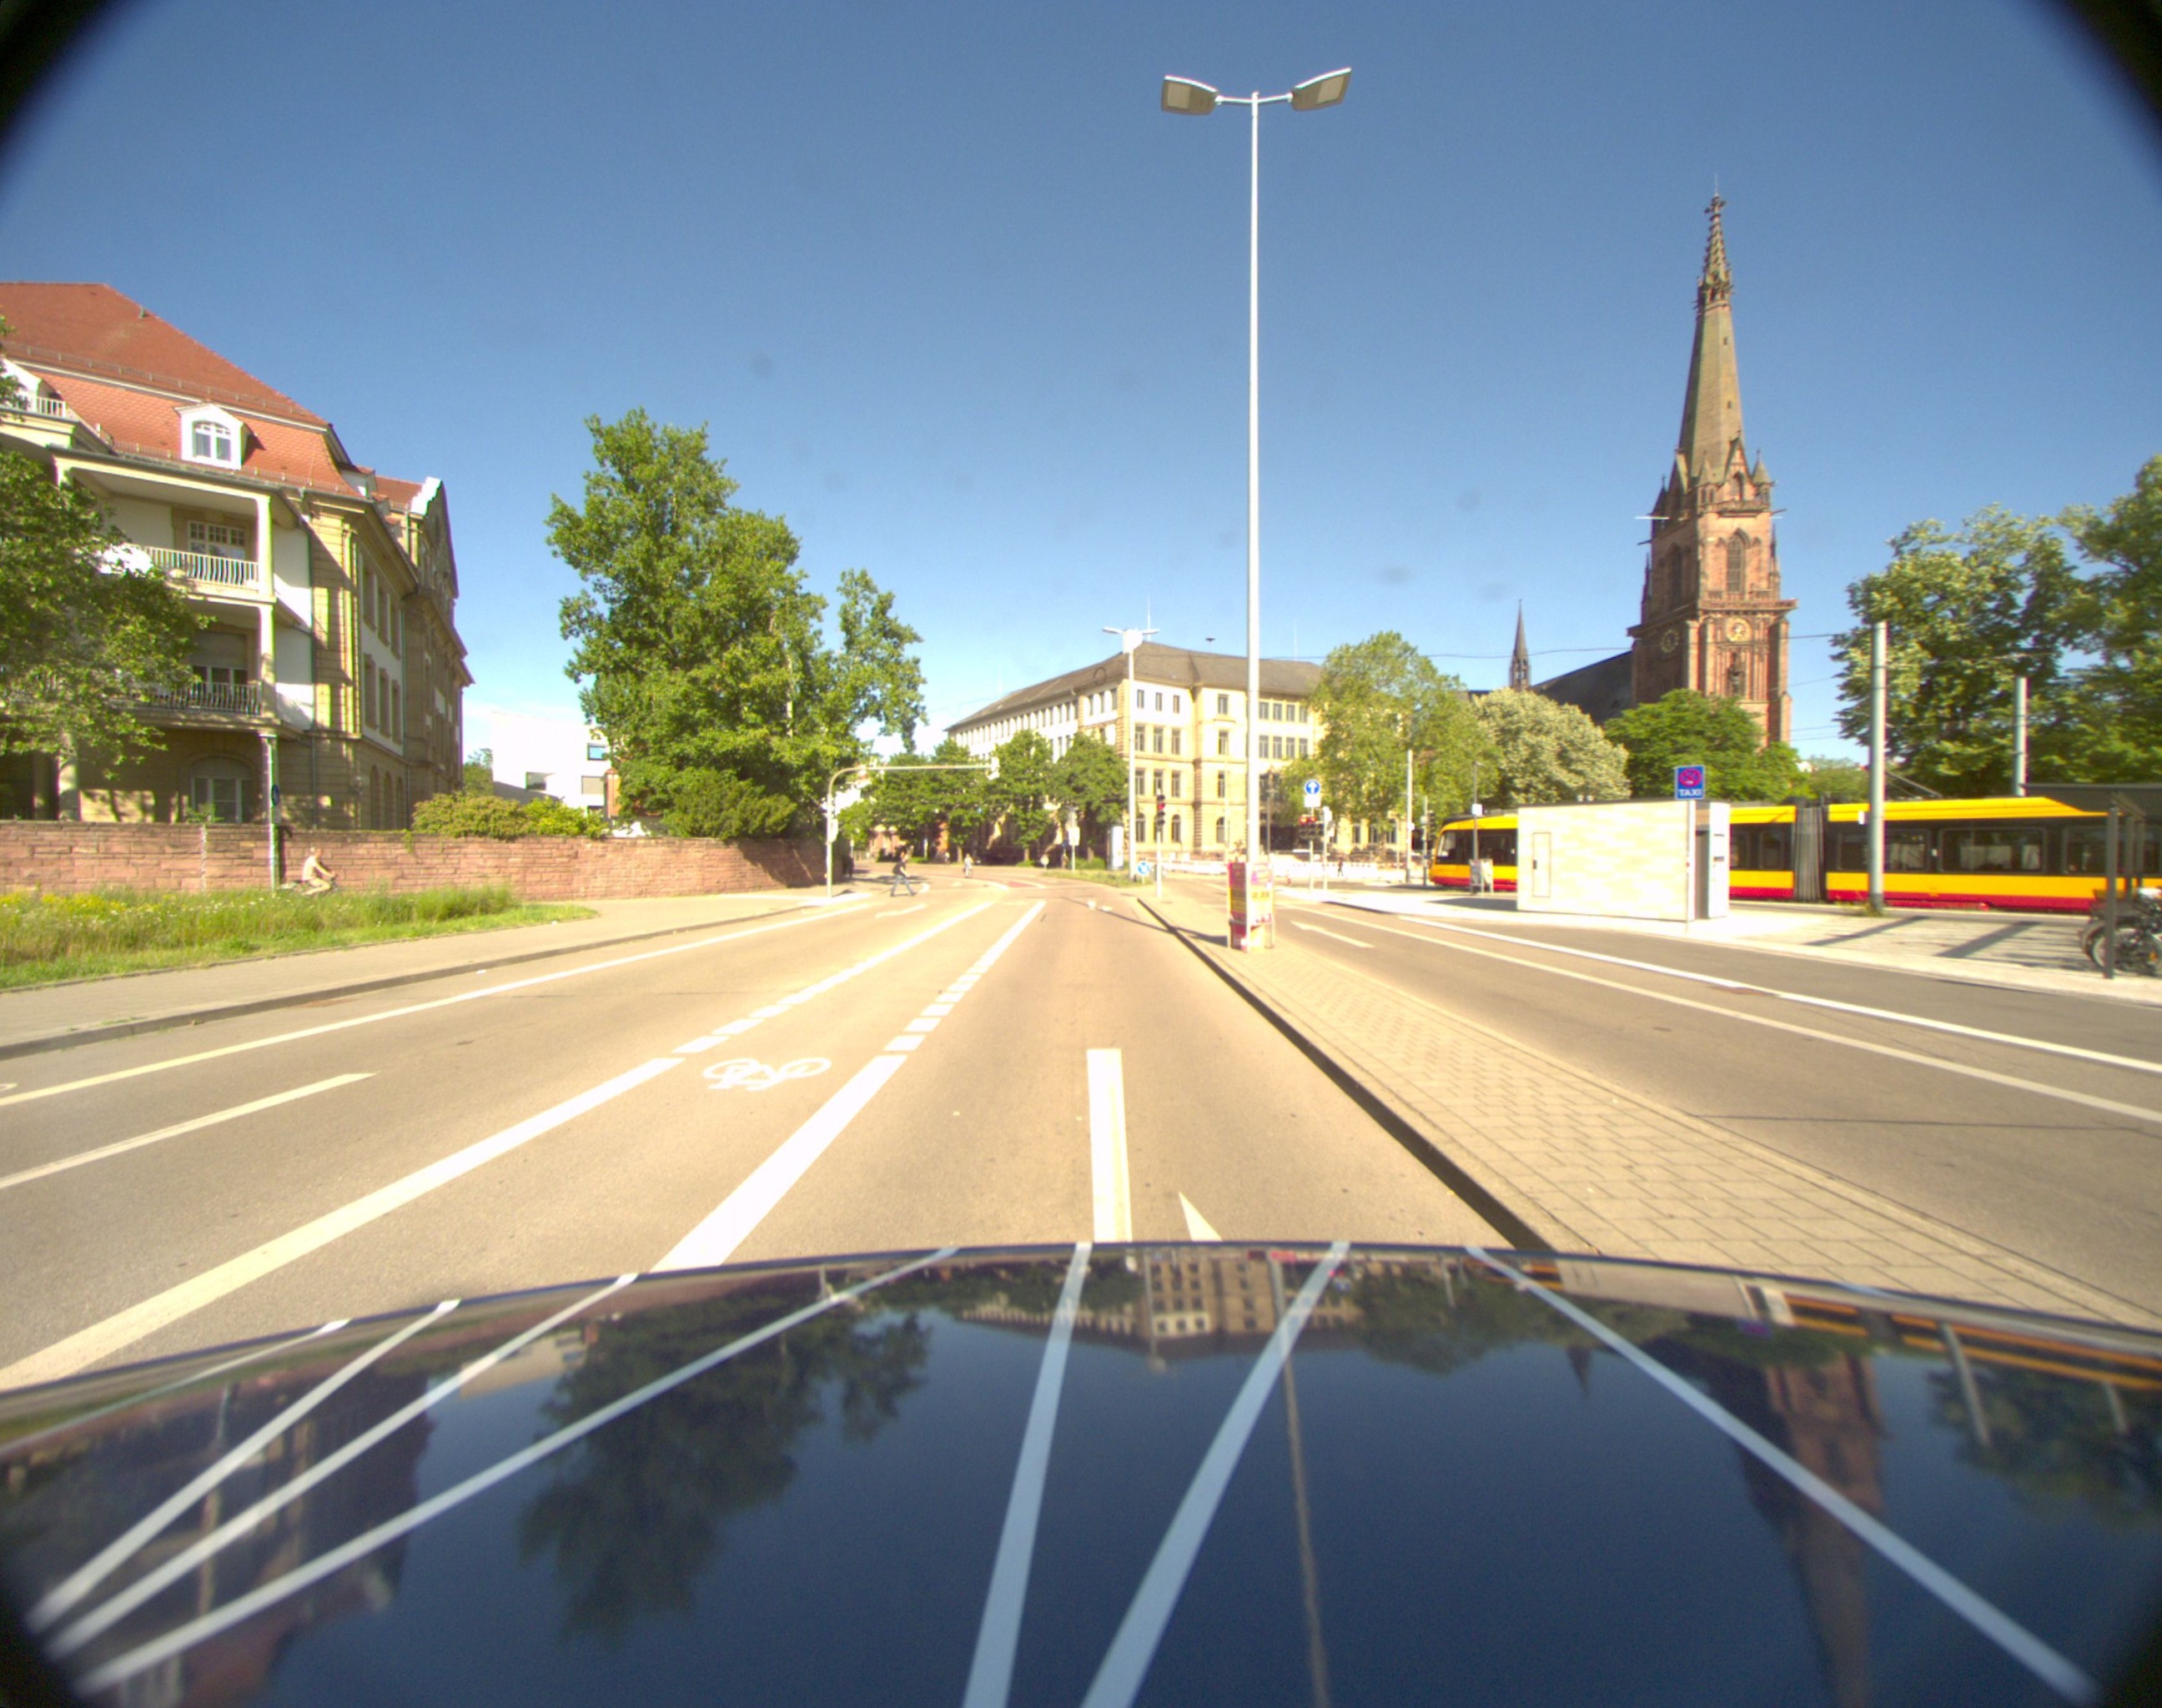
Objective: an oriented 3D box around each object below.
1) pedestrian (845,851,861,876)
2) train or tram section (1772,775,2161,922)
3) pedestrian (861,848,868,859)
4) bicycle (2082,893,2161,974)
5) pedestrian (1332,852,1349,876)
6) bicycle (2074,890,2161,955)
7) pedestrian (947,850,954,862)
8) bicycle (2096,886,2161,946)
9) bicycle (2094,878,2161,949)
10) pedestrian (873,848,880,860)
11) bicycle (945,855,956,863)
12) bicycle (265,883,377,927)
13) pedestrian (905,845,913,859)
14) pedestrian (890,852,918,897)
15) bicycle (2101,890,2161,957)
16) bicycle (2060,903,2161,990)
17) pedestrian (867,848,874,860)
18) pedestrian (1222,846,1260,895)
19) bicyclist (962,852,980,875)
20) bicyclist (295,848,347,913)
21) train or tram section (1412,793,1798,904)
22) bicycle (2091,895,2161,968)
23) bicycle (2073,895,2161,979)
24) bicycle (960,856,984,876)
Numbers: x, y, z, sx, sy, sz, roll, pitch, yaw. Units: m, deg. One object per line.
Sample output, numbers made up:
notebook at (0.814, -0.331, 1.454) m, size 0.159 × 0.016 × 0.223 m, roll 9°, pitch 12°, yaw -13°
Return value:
pedestrian at (-15.548, 0.647, 51.762) m, size 0.940 × 1.711 × 0.994 m, roll 0°, pitch 1°, yaw -12°
train or tram section at (26.928, -0.147, 20.198) m, size 2.806 × 3.580 × 12.294 m, roll -1°, pitch 1°, yaw -35°
pedestrian at (-35.460, -0.073, 124.488) m, size 0.759 × 1.802 × 0.978 m, roll -1°, pitch 1°, yaw -38°
bicycle at (15.142, 1.113, 10.313) m, size 0.574 × 1.045 × 1.826 m, roll -1°, pitch 1°, yaw -32°
pedestrian at (18.393, 0.699, 53.855) m, size 0.932 × 1.731 × 0.808 m, roll 1°, pitch 1°, yaw 42°
bicycle at (17.813, 1.133, 12.446) m, size 0.630 × 1.002 × 1.826 m, roll -1°, pitch 1°, yaw -32°
pedestrian at (-15.467, 0.273, 89.976) m, size 0.597 × 1.394 × 0.644 m, roll -3°, pitch 2°, yaw -28°
bicycle at (19.526, 1.120, 13.442) m, size 0.630 × 1.002 × 1.826 m, roll -1°, pitch 1°, yaw -32°
bicycle at (18.947, 1.044, 13.034) m, size 0.630 × 1.173 × 1.826 m, roll -1°, pitch 1°, yaw -32°
pedestrian at (-31.637, 0.011, 117.776) m, size 0.758 × 1.801 × 0.978 m, roll -1°, pitch -3°, yaw -31°
bicycle at (-15.461, 0.590, 90.004) m, size 0.602 × 1.000 × 1.983 m, roll -3°, pitch 1°, yaw -28°
bicycle at (-19.309, 1.277, 19.362) m, size 1.888 × 1.063 × 0.723 m, roll 2°, pitch -2°, yaw -35°
pedestrian at (-23.860, -0.276, 105.312) m, size 0.759 × 1.802 × 0.977 m, roll -1°, pitch 1°, yaw -40°
pedestrian at (-7.431, 0.854, 31.943) m, size 0.960 × 1.839 × 0.731 m, roll 1°, pitch 1°, yaw 3°
bicycle at (17.166, 1.095, 11.610) m, size 0.630 × 1.002 × 1.826 m, roll -1°, pitch 1°, yaw -32°
bicycle at (13.938, 1.203, 9.580) m, size 0.702 × 1.002 × 1.863 m, roll -1°, pitch 2°, yaw -32°
pedestrian at (-32.426, 0.048, 117.180) m, size 0.759 × 1.801 × 0.978 m, roll -1°, pitch -3°, yaw -34°
pedestrian at (6.102, 0.625, 29.063) m, size 1.229 × 1.845 × 0.827 m, roll 0°, pitch 1°, yaw -8°
bicyclist at (-7.657, 0.641, 52.906) m, size 0.871 × 1.551 × 1.277 m, roll -1°, pitch 1°, yaw -29°
bicyclist at (-19.337, 0.645, 19.340) m, size 0.779 × 1.596 × 0.721 m, roll -2°, pitch 1°, yaw -35°
train or tram section at (19.853, -0.203, 30.413) m, size 2.806 × 3.580 × 12.504 m, roll -1°, pitch 1°, yaw -35°
bicycle at (16.179, 1.158, 10.985) m, size 0.630 × 1.002 × 1.826 m, roll -1°, pitch 1°, yaw -32°
bicycle at (14.672, 1.126, 10.048) m, size 0.630 × 1.059 × 1.826 m, roll -1°, pitch 1°, yaw -32°
bicycle at (-7.601, 0.809, 52.811) m, size 0.763 × 1.360 × 2.731 m, roll -1°, pitch 1°, yaw -28°
